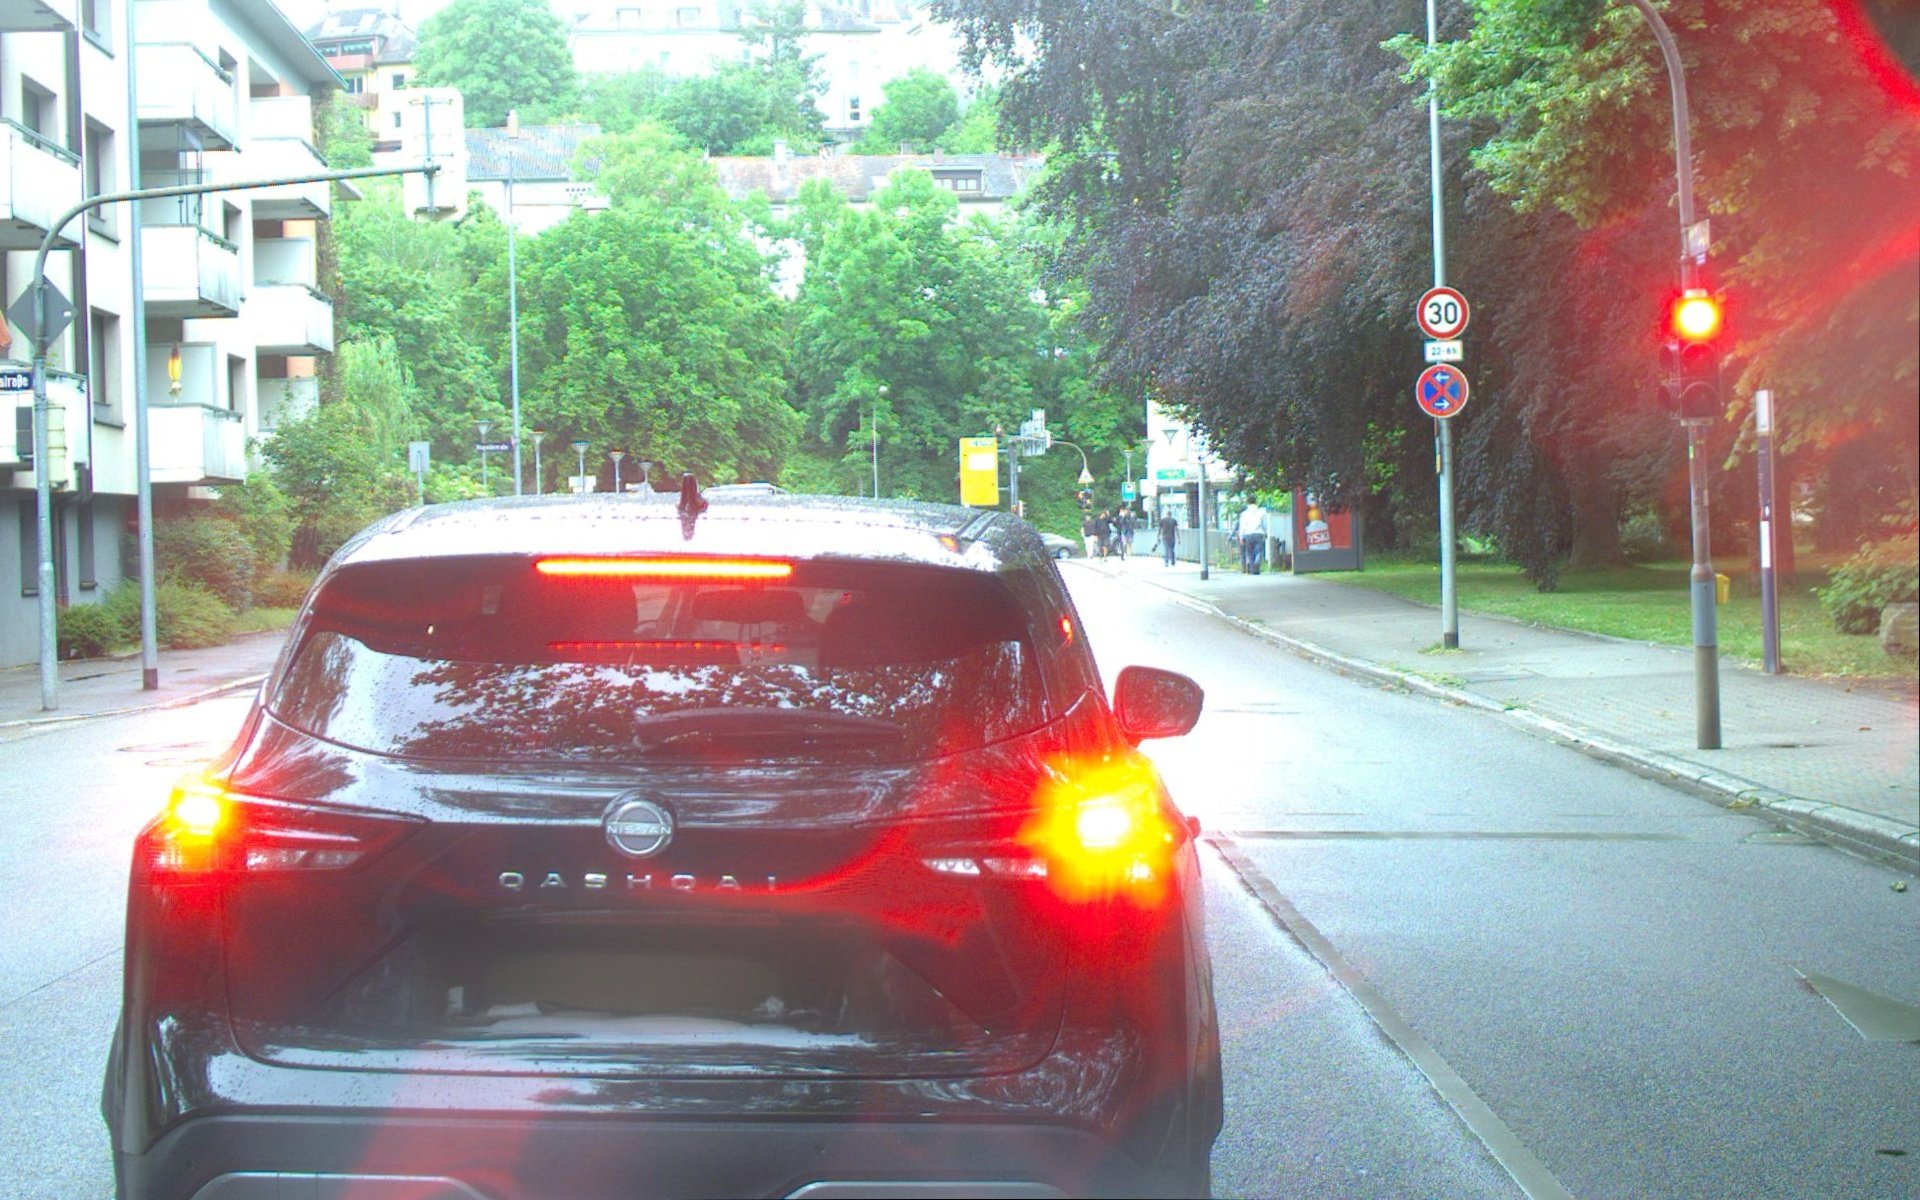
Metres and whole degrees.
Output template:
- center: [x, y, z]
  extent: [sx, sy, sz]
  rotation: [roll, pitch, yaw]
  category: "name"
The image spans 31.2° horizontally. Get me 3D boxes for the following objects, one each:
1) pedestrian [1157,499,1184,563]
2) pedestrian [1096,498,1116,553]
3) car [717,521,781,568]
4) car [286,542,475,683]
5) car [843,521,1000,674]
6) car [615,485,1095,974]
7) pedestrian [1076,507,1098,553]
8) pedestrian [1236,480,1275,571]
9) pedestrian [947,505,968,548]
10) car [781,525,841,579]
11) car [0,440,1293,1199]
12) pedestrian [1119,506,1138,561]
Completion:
- center: [6.003, -1.969, 98.044]
  extent: [0.618, 1.796, 0.510]
  rotation: [-2, 1, 14]
  category: "pedestrian"
- center: [4.814, -2.456, 113.390]
  extent: [0.509, 1.796, 0.659]
  rotation: [-2, 1, 11]
  category: "pedestrian"
- center: [-7.314, -1.938, 119.533]
  extent: [1.970, 1.527, 3.968]
  rotation: [-2, 1, -1]
  category: "car"
- center: [-6.856, 0.105, 40.988]
  extent: [1.795, 1.528, 3.868]
  rotation: [-2, 1, -4]
  category: "car"
- center: [-0.417, -0.074, 41.195]
  extent: [1.722, 1.672, 4.314]
  rotation: [-2, 1, 0]
  category: "car"
- center: [-0.405, 0.437, 14.457]
  extent: [1.698, 1.739, 3.641]
  rotation: [-2, 1, -1]
  category: "car"
- center: [4.613, -2.539, 124.772]
  extent: [0.509, 1.667, 0.658]
  rotation: [-2, 1, 27]
  category: "pedestrian"
- center: [6.630, -1.668, 77.070]
  extent: [0.725, 2.007, 0.851]
  rotation: [-2, 1, 0]
  category: "pedestrian"
- center: [-0.092, -2.905, 135.104]
  extent: [0.509, 1.667, 0.658]
  rotation: [-2, 1, 27]
  category: "pedestrian"
- center: [-4.451, -1.448, 103.165]
  extent: [1.634, 1.527, 3.968]
  rotation: [-2, 1, -1]
  category: "car"
- center: [-0.495, 0.566, 6.985]
  extent: [1.913, 1.674, 4.000]
  rotation: [0, 1, 0]
  category: "car"
- center: [5.512, -2.185, 112.553]
  extent: [0.508, 1.796, 0.619]
  rotation: [-2, 1, -2]
  category: "pedestrian"
